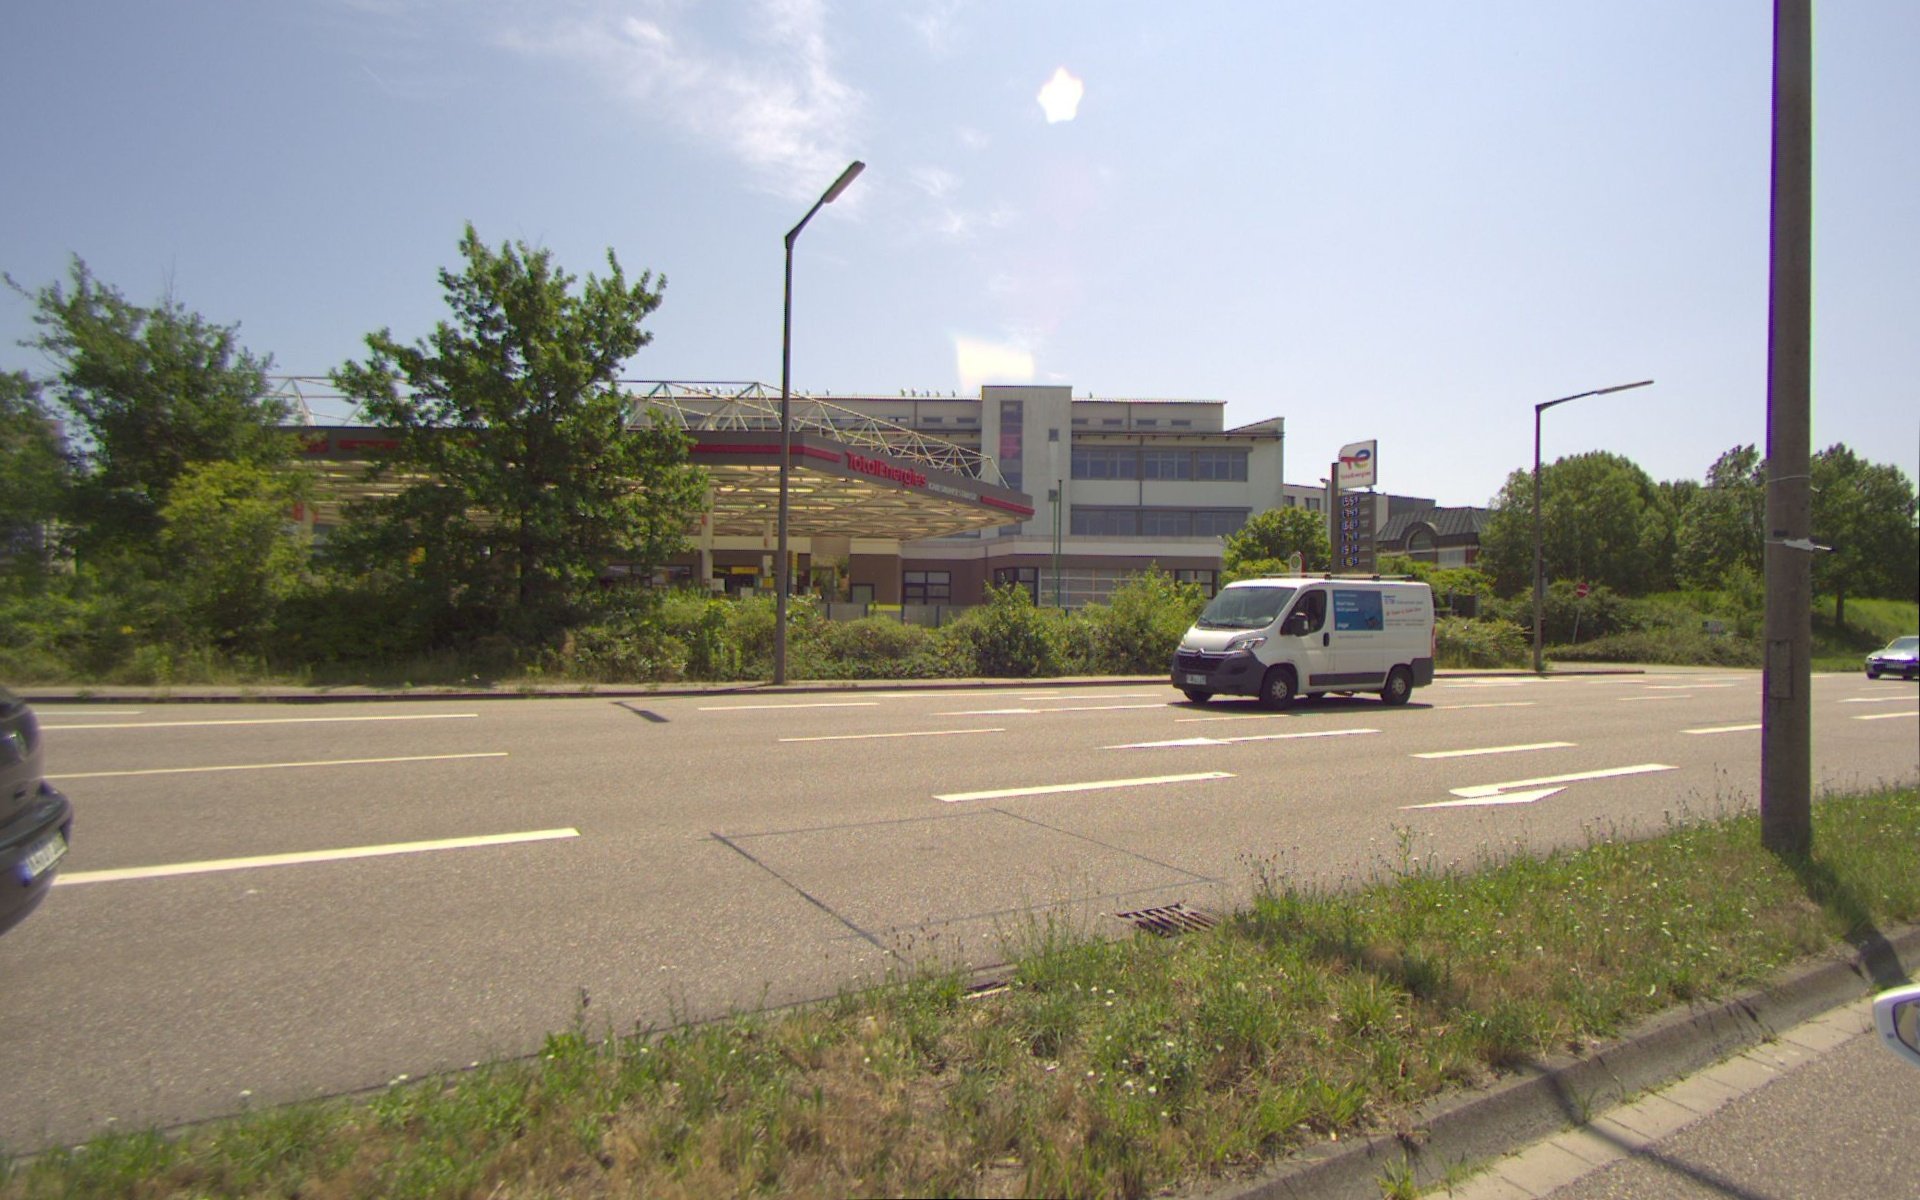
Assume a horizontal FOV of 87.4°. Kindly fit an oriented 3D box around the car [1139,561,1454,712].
[{"bbox_3d":[5.977,0.625,17.671,5.385,2.303,2.238,2,0,-30],"label":"car"}]

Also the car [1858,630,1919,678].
[{"bbox_3d":[31.510,1.759,32.945,4.797,1.468,1.821,2,-2,-32],"label":"car"}]

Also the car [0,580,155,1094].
[{"bbox_3d":[-4.852,0.620,2.541,4.142,1.453,1.668,2,-1,-30],"label":"car"}]
